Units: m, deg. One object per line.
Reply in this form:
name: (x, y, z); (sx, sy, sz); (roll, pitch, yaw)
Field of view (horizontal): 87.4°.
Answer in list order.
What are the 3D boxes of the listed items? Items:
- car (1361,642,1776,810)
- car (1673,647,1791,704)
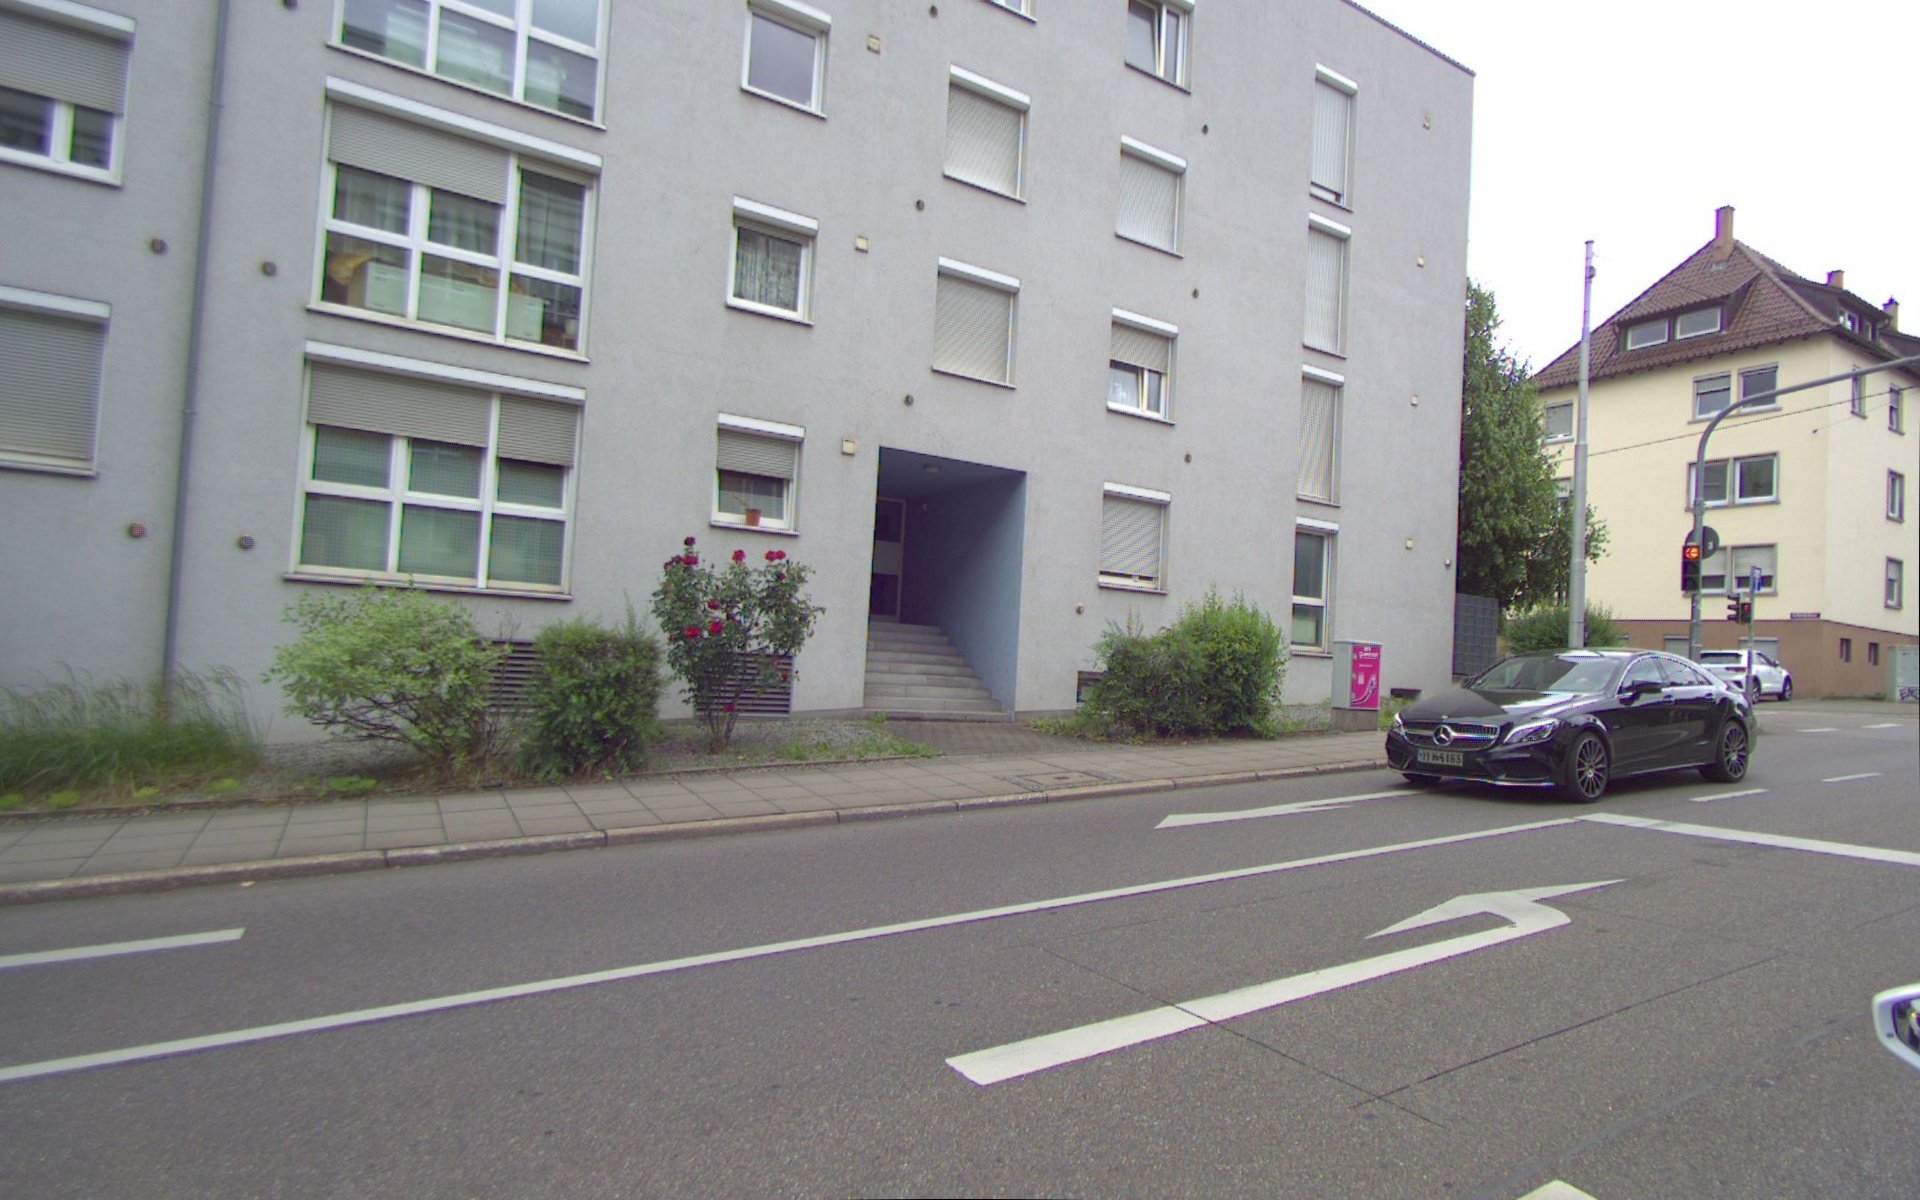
car: (6.546, 1.193, 10.672); (4.616, 1.437, 1.777); (1, -4, -31)
car: (23.090, 2.209, 30.033); (3.727, 1.575, 1.681); (1, -4, -34)
